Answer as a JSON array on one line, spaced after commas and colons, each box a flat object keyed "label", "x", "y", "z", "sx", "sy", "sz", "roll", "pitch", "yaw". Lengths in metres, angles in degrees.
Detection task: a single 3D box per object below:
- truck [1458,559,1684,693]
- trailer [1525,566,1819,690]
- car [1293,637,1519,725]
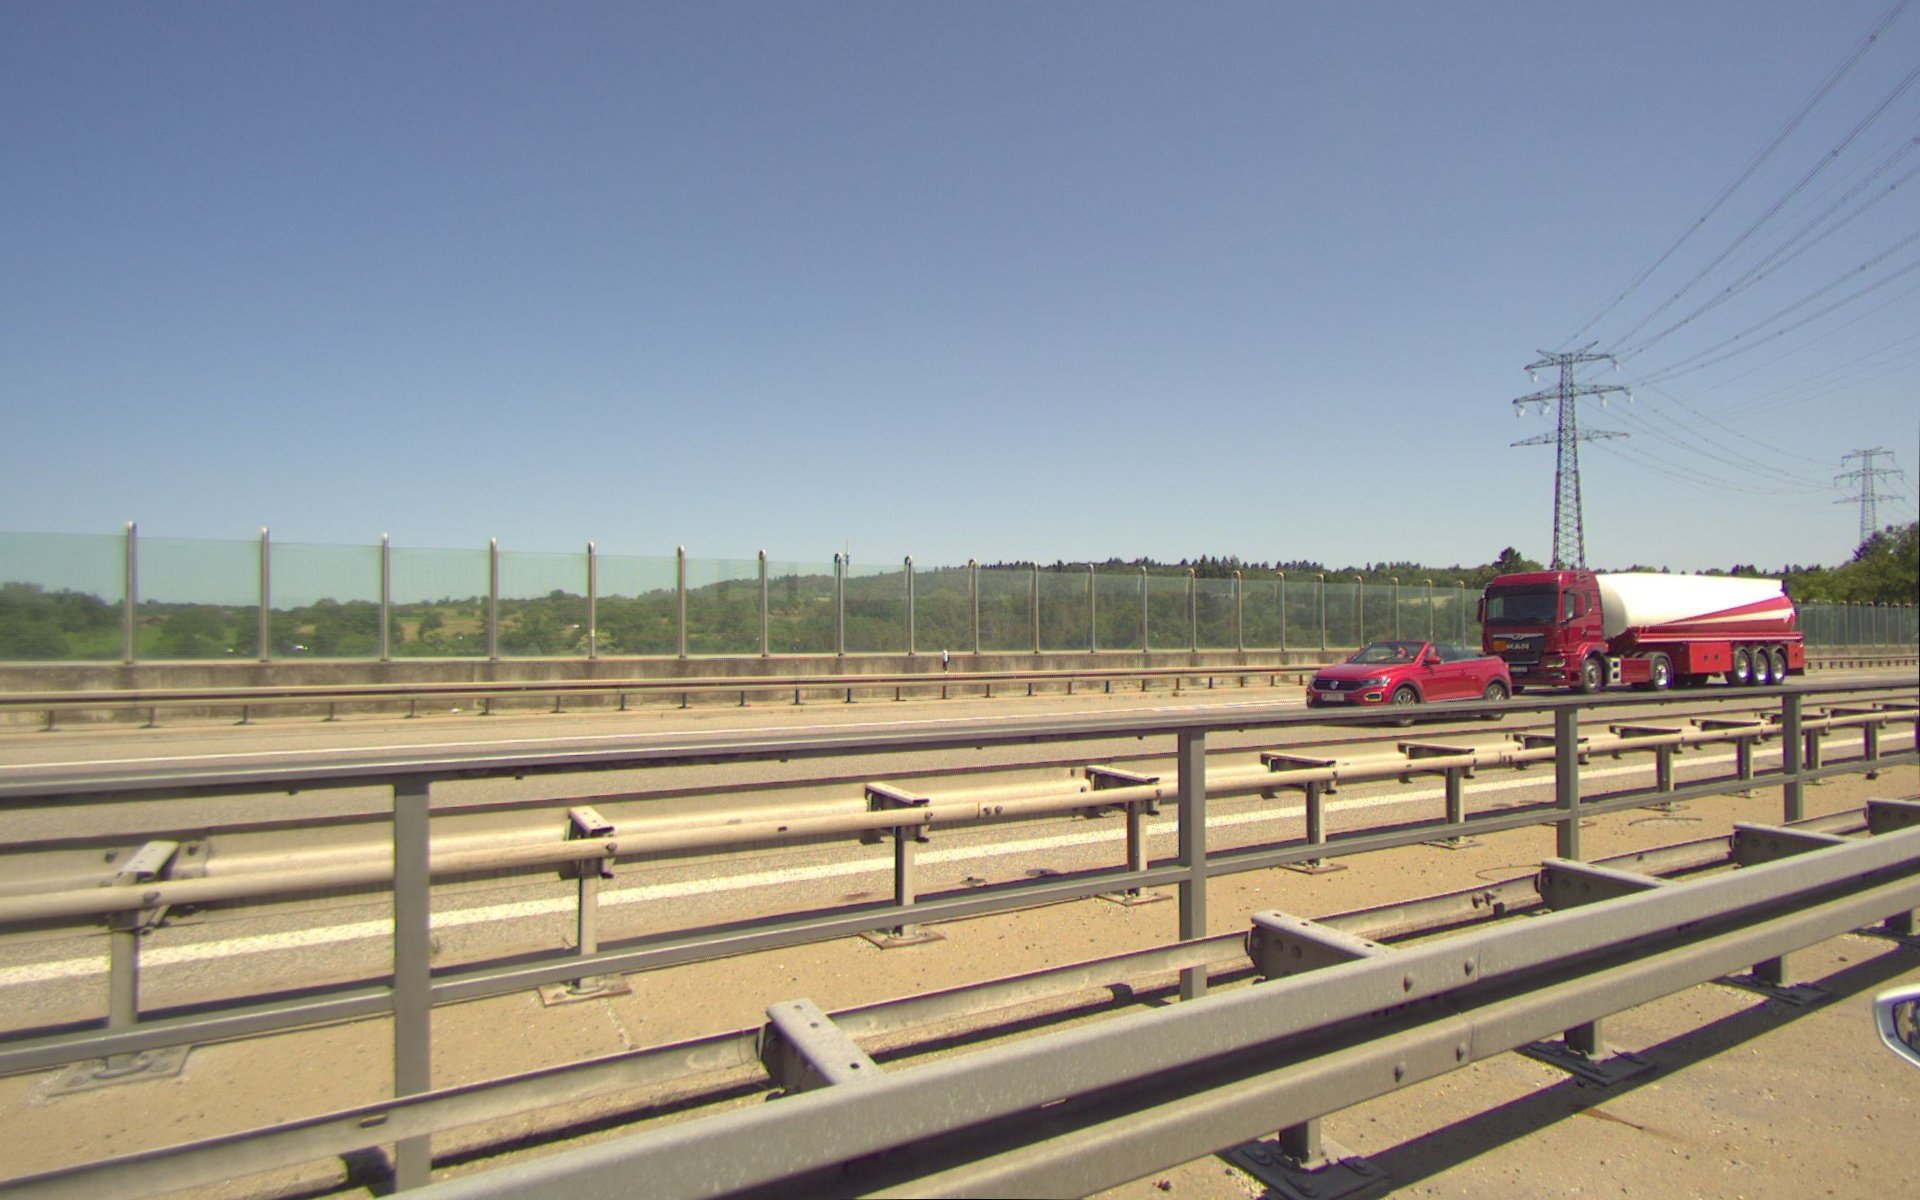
[{"label": "truck", "x": 17.510, "y": 0.824, "z": 28.736, "sx": 6.221, "sy": 3.459, "sz": 2.895, "roll": 2, "pitch": -3, "yaw": -30}, {"label": "trailer", "x": 22.813, "y": 1.015, "z": 31.836, "sx": 11.865, "sy": 3.422, "sz": 2.864, "roll": 2, "pitch": -4, "yaw": -30}, {"label": "car", "x": 8.163, "y": 1.440, "z": 18.342, "sx": 3.953, "sy": 1.438, "sz": 1.774, "roll": 2, "pitch": -4, "yaw": -30}]
